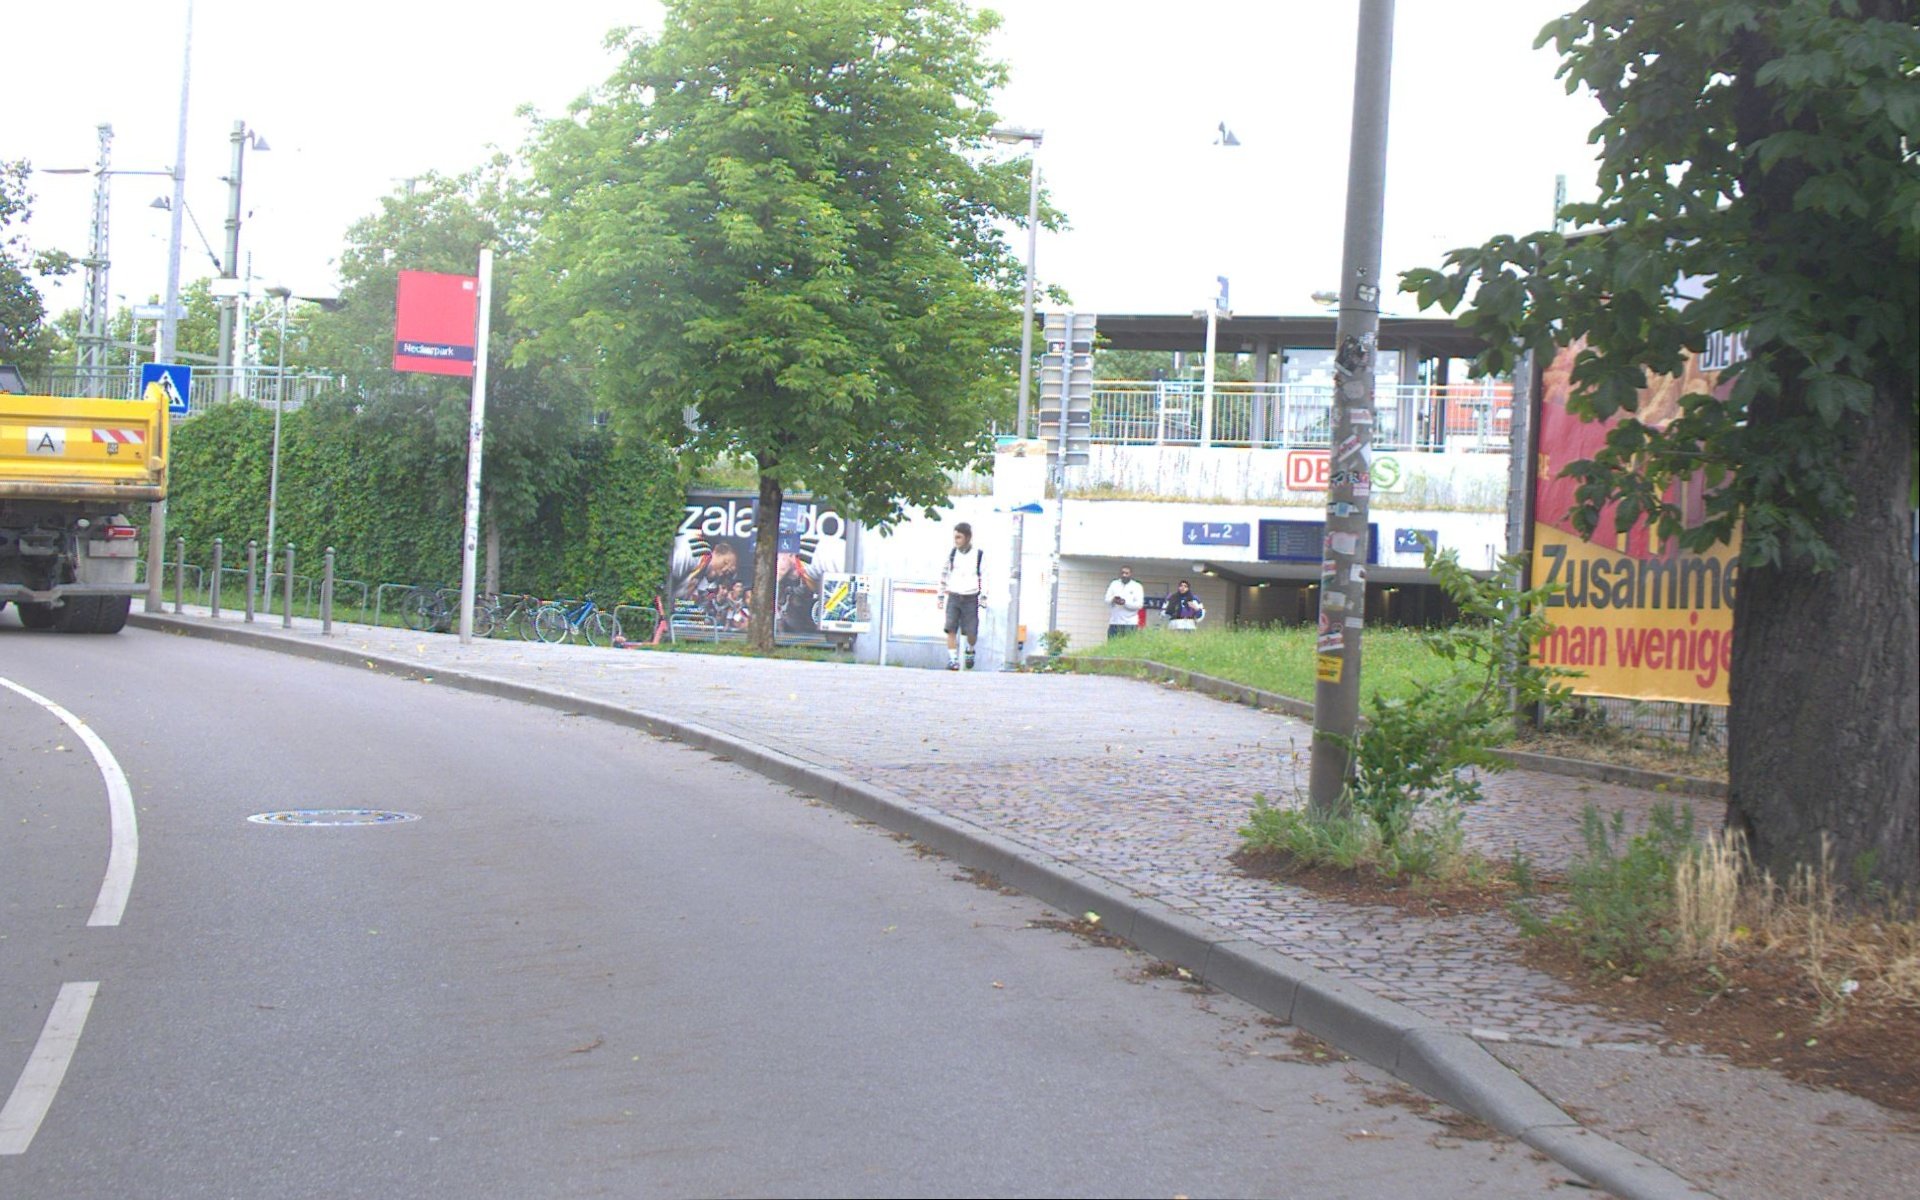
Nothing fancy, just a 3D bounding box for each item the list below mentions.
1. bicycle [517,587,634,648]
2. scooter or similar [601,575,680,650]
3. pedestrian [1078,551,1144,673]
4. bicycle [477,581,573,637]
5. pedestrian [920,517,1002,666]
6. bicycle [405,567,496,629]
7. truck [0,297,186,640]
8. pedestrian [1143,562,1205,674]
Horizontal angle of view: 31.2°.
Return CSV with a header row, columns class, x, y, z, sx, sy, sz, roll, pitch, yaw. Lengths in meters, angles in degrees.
class,x,y,z,sx,sy,sz,roll,pitch,yaw
bicycle,-6.866,0.316,61.402,1.965,0.862,0.511,7,-1,-33
scooter or similar,-5.627,0.222,60.565,1.187,1.202,0.468,6,-1,-29
pedestrian,2.147,0.174,48.902,0.814,1.697,0.748,2,-1,7
bicycle,-7.844,0.167,61.993,1.575,0.851,0.463,6,-1,-29
pedestrian,0.016,-0.090,39.727,0.848,1.678,0.940,2,-1,3
bicycle,-9.211,-0.030,62.121,1.487,0.986,0.694,5,0,-15
truck,-11.505,-1.614,39.300,2.764,3.471,8.131,3,2,-30
pedestrian,3.120,0.267,50.126,0.800,1.578,0.801,2,-1,7
